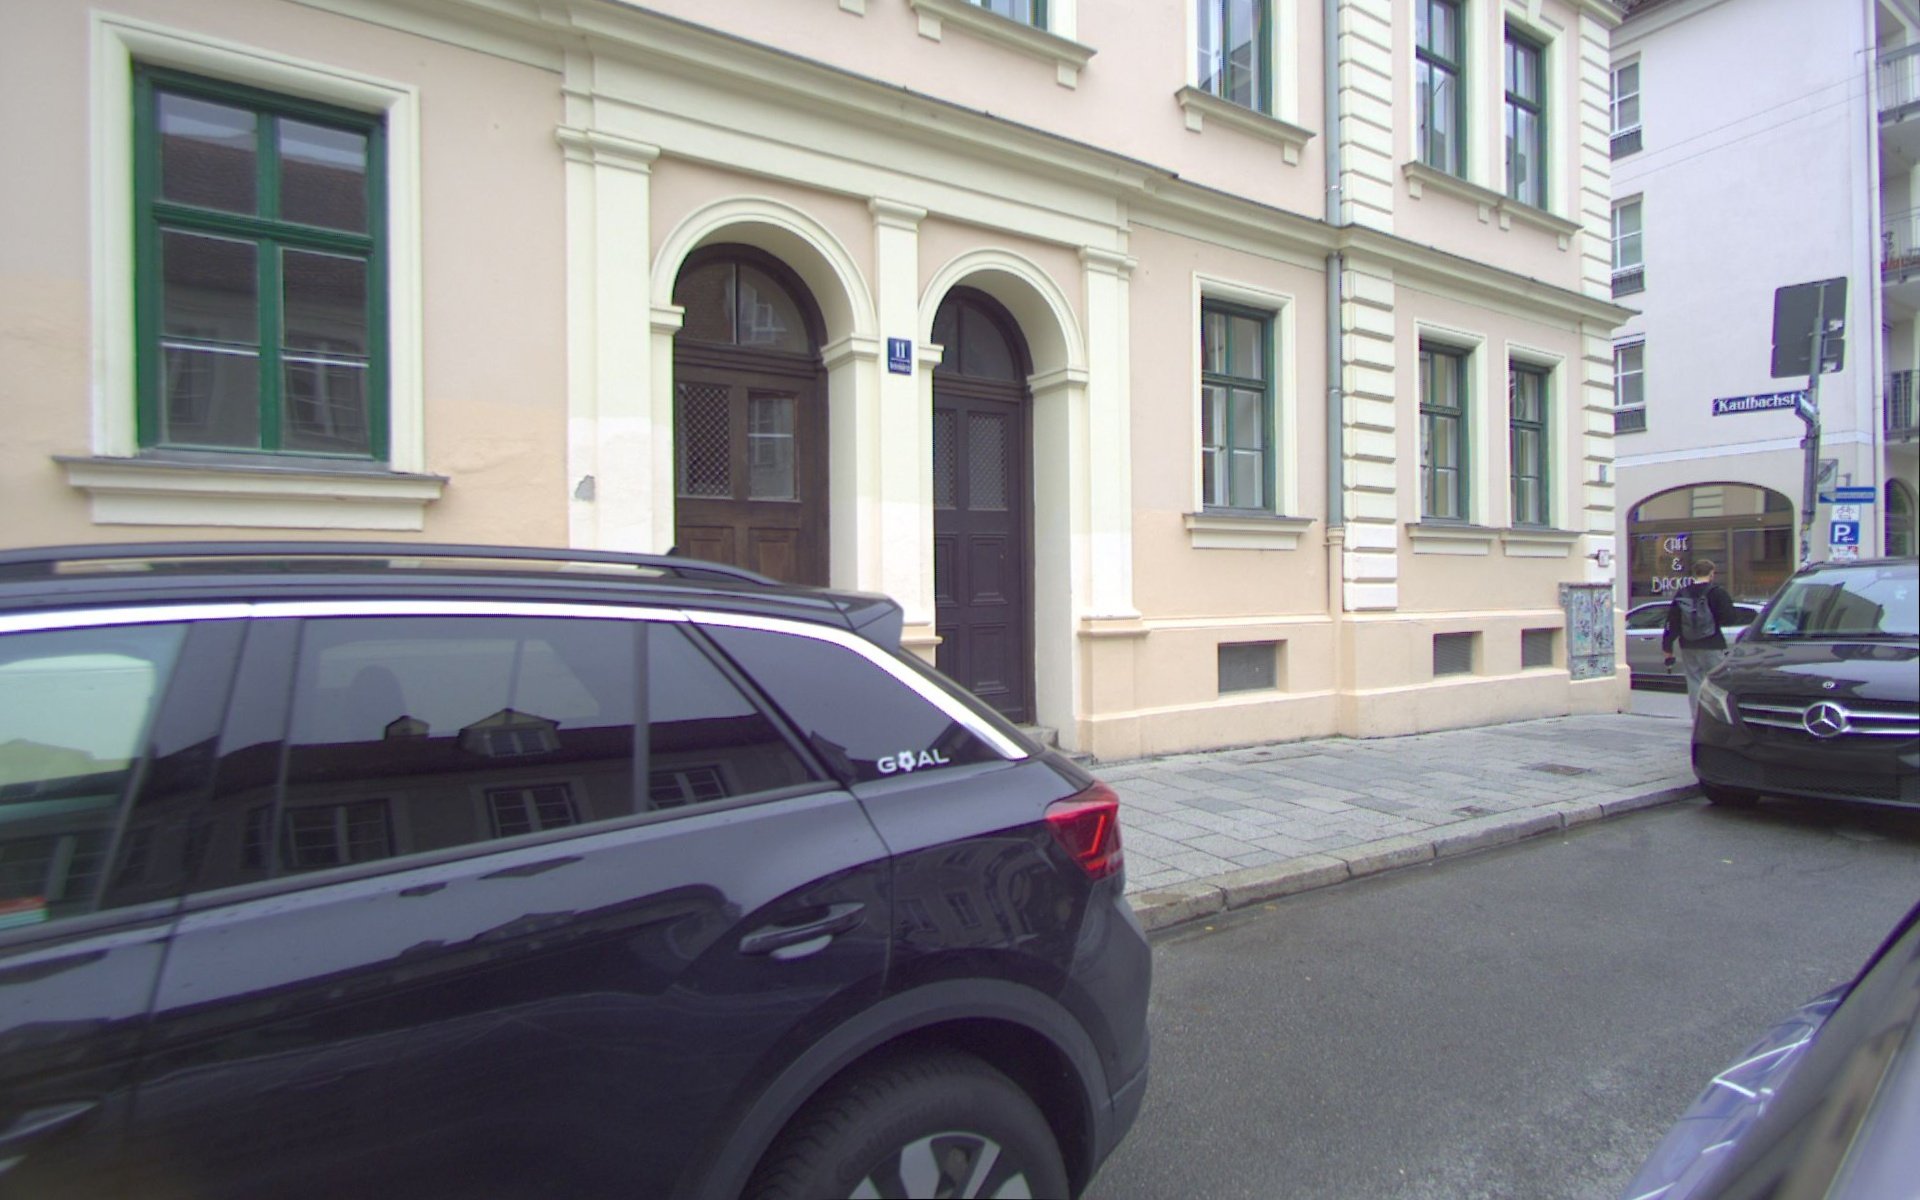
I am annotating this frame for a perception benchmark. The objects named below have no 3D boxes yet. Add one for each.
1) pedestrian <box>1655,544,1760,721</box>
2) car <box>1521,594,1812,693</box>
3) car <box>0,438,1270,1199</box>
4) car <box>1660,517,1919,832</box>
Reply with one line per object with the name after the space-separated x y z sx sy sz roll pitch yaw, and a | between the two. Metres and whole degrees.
8.093 0.334 10.961 0.716 1.825 0.699 0 -1 -33 | pedestrian
12.648 0.700 18.355 1.680 1.585 3.999 0 0 -35 | car
-1.527 0.625 1.738 4.062 1.586 1.723 0 0 -33 | car
7.672 0.433 7.699 5.013 1.884 2.001 0 0 -32 | car
